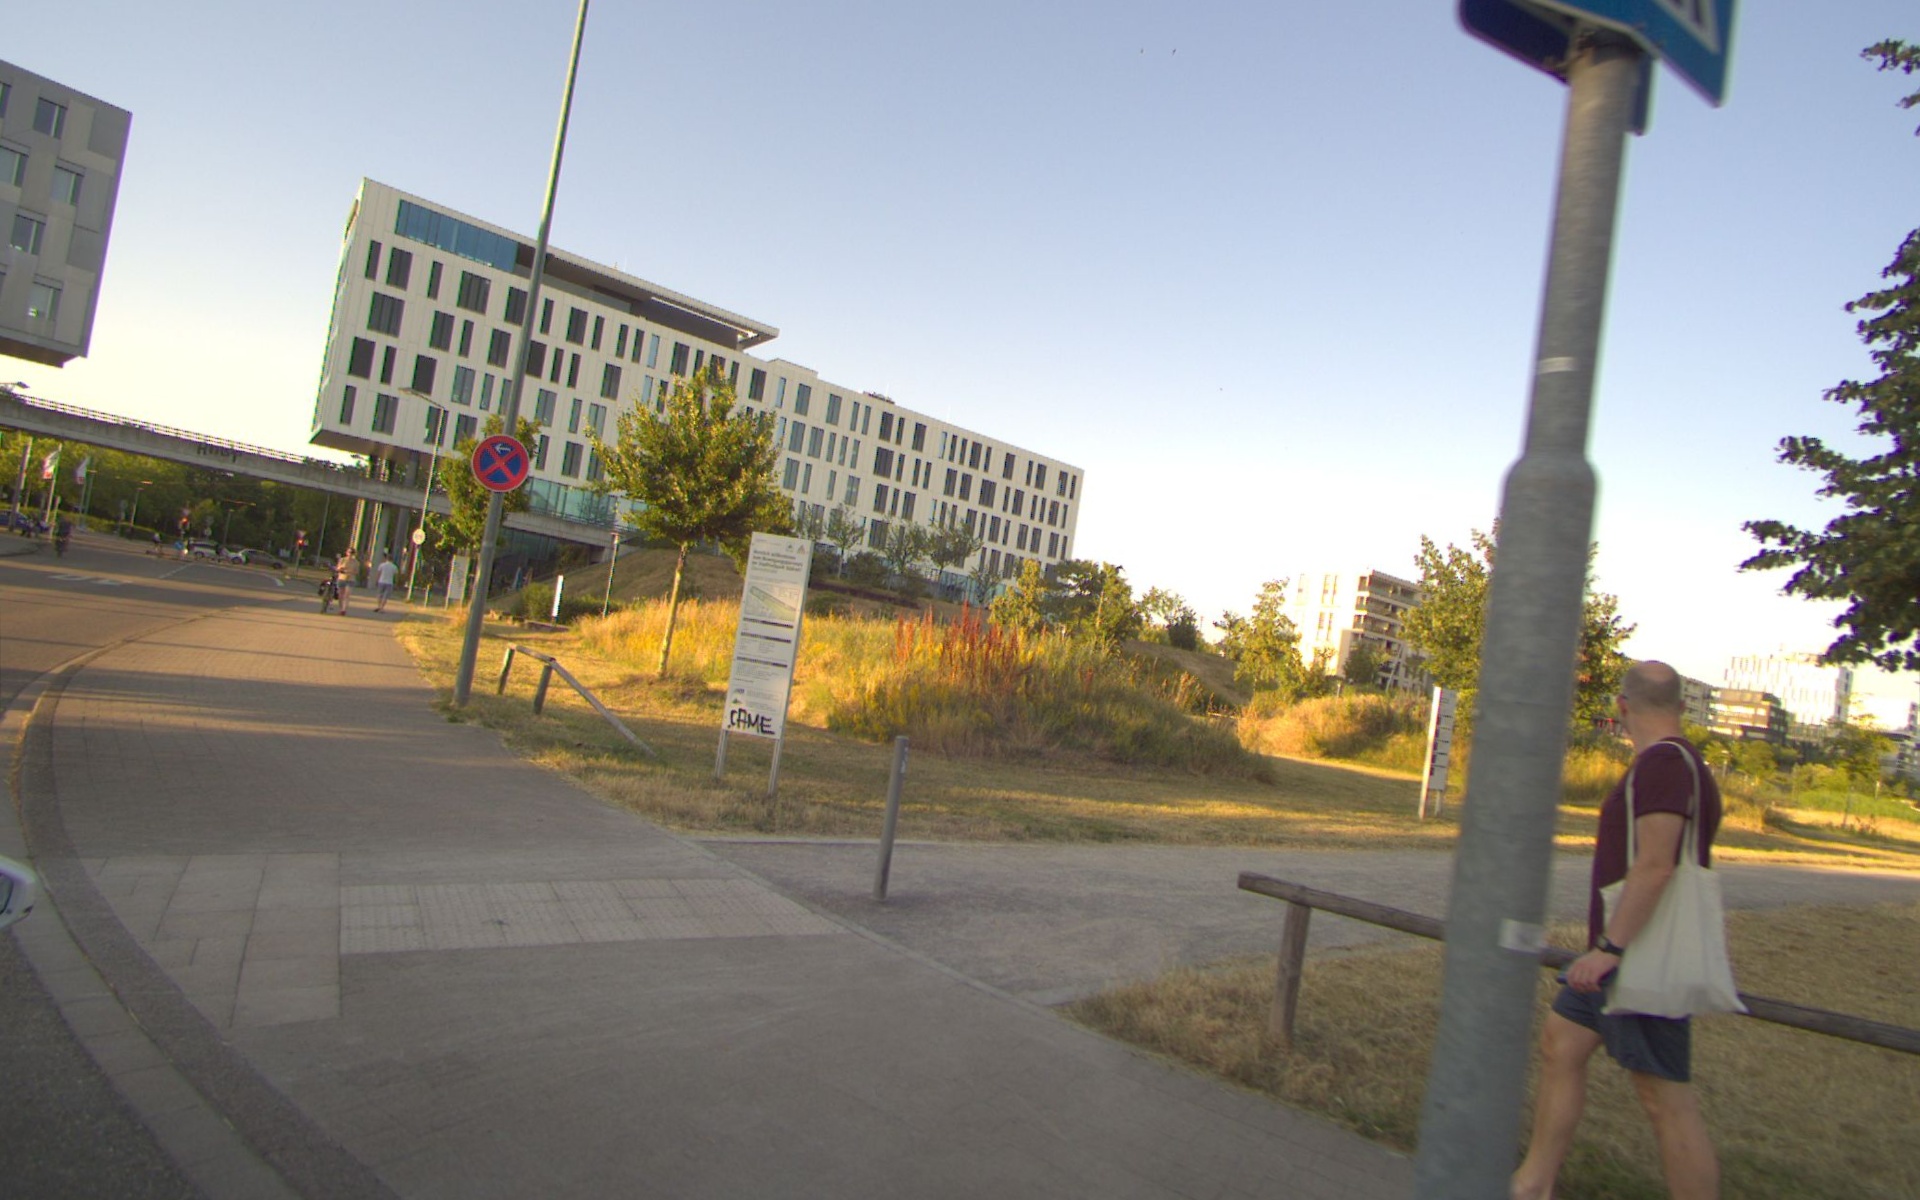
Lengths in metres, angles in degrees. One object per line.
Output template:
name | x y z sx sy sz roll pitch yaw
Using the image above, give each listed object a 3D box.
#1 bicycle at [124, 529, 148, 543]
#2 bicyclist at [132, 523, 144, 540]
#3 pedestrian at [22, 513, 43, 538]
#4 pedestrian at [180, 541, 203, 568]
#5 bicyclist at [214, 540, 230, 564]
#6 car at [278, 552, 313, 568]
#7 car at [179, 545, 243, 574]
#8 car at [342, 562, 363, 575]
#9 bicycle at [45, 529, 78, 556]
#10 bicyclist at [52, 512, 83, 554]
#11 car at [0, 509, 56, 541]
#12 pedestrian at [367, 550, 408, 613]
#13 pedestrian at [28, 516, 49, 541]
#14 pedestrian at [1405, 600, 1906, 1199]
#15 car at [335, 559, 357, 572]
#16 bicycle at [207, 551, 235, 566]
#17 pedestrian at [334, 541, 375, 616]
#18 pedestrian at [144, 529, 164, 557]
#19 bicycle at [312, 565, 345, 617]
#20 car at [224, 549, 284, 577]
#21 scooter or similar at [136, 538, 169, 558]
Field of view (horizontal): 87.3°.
bicycle | -95.617 -7.427 116.774 0.551 1.140 1.969 9 -2 29
bicyclist | -95.497 -7.954 116.838 0.543 1.742 0.759 9 -1 29
pedestrian | -66.798 -5.369 72.468 0.679 1.642 0.709 10 -1 -18
pedestrian | -59.564 -3.519 77.975 0.882 1.854 1.053 8 -2 41
bicyclist | -59.522 -3.868 81.176 0.764 1.723 0.506 10 -2 -43
car | -114.557 -6.896 173.370 4.653 1.889 1.998 11 -2 -29
car | -67.111 -3.637 90.204 4.397 1.743 1.816 12 -3 -38
car | -97.403 -5.027 161.413 1.477 1.624 3.399 10 -2 -9
bicycle | -38.732 -2.480 43.378 0.535 1.054 1.910 10 -2 -30
bicyclist | -38.467 -2.897 43.368 0.611 1.681 1.028 10 -1 -30
car | -76.663 -6.224 81.610 1.868 1.848 4.708 8 -3 45
pedestrian | -17.633 -0.578 30.989 0.825 1.786 0.812 10 -1 -28
pedestrian | -67.045 -5.214 73.212 0.693 1.682 0.709 10 -1 -18
pedestrian | 2.009 0.975 2.948 0.728 1.804 0.795 10 -1 -33
car | -96.245 -5.459 157.764 1.477 1.624 3.399 10 -2 -9
bicycle | -59.623 -3.349 81.141 1.691 0.959 0.505 12 -3 -44
pedestrian | -15.556 -0.551 25.867 0.590 1.822 0.812 10 -1 -28
pedestrian | -63.086 -4.438 78.761 0.907 2.013 0.762 10 -2 -44
bicycle | -16.034 -0.244 25.578 0.447 1.181 1.926 10 -2 -29
car | -66.434 -3.489 94.744 4.393 1.819 1.817 11 -2 -35
scooter or similar | -63.185 -4.073 78.746 1.857 1.187 0.754 12 -3 -44
